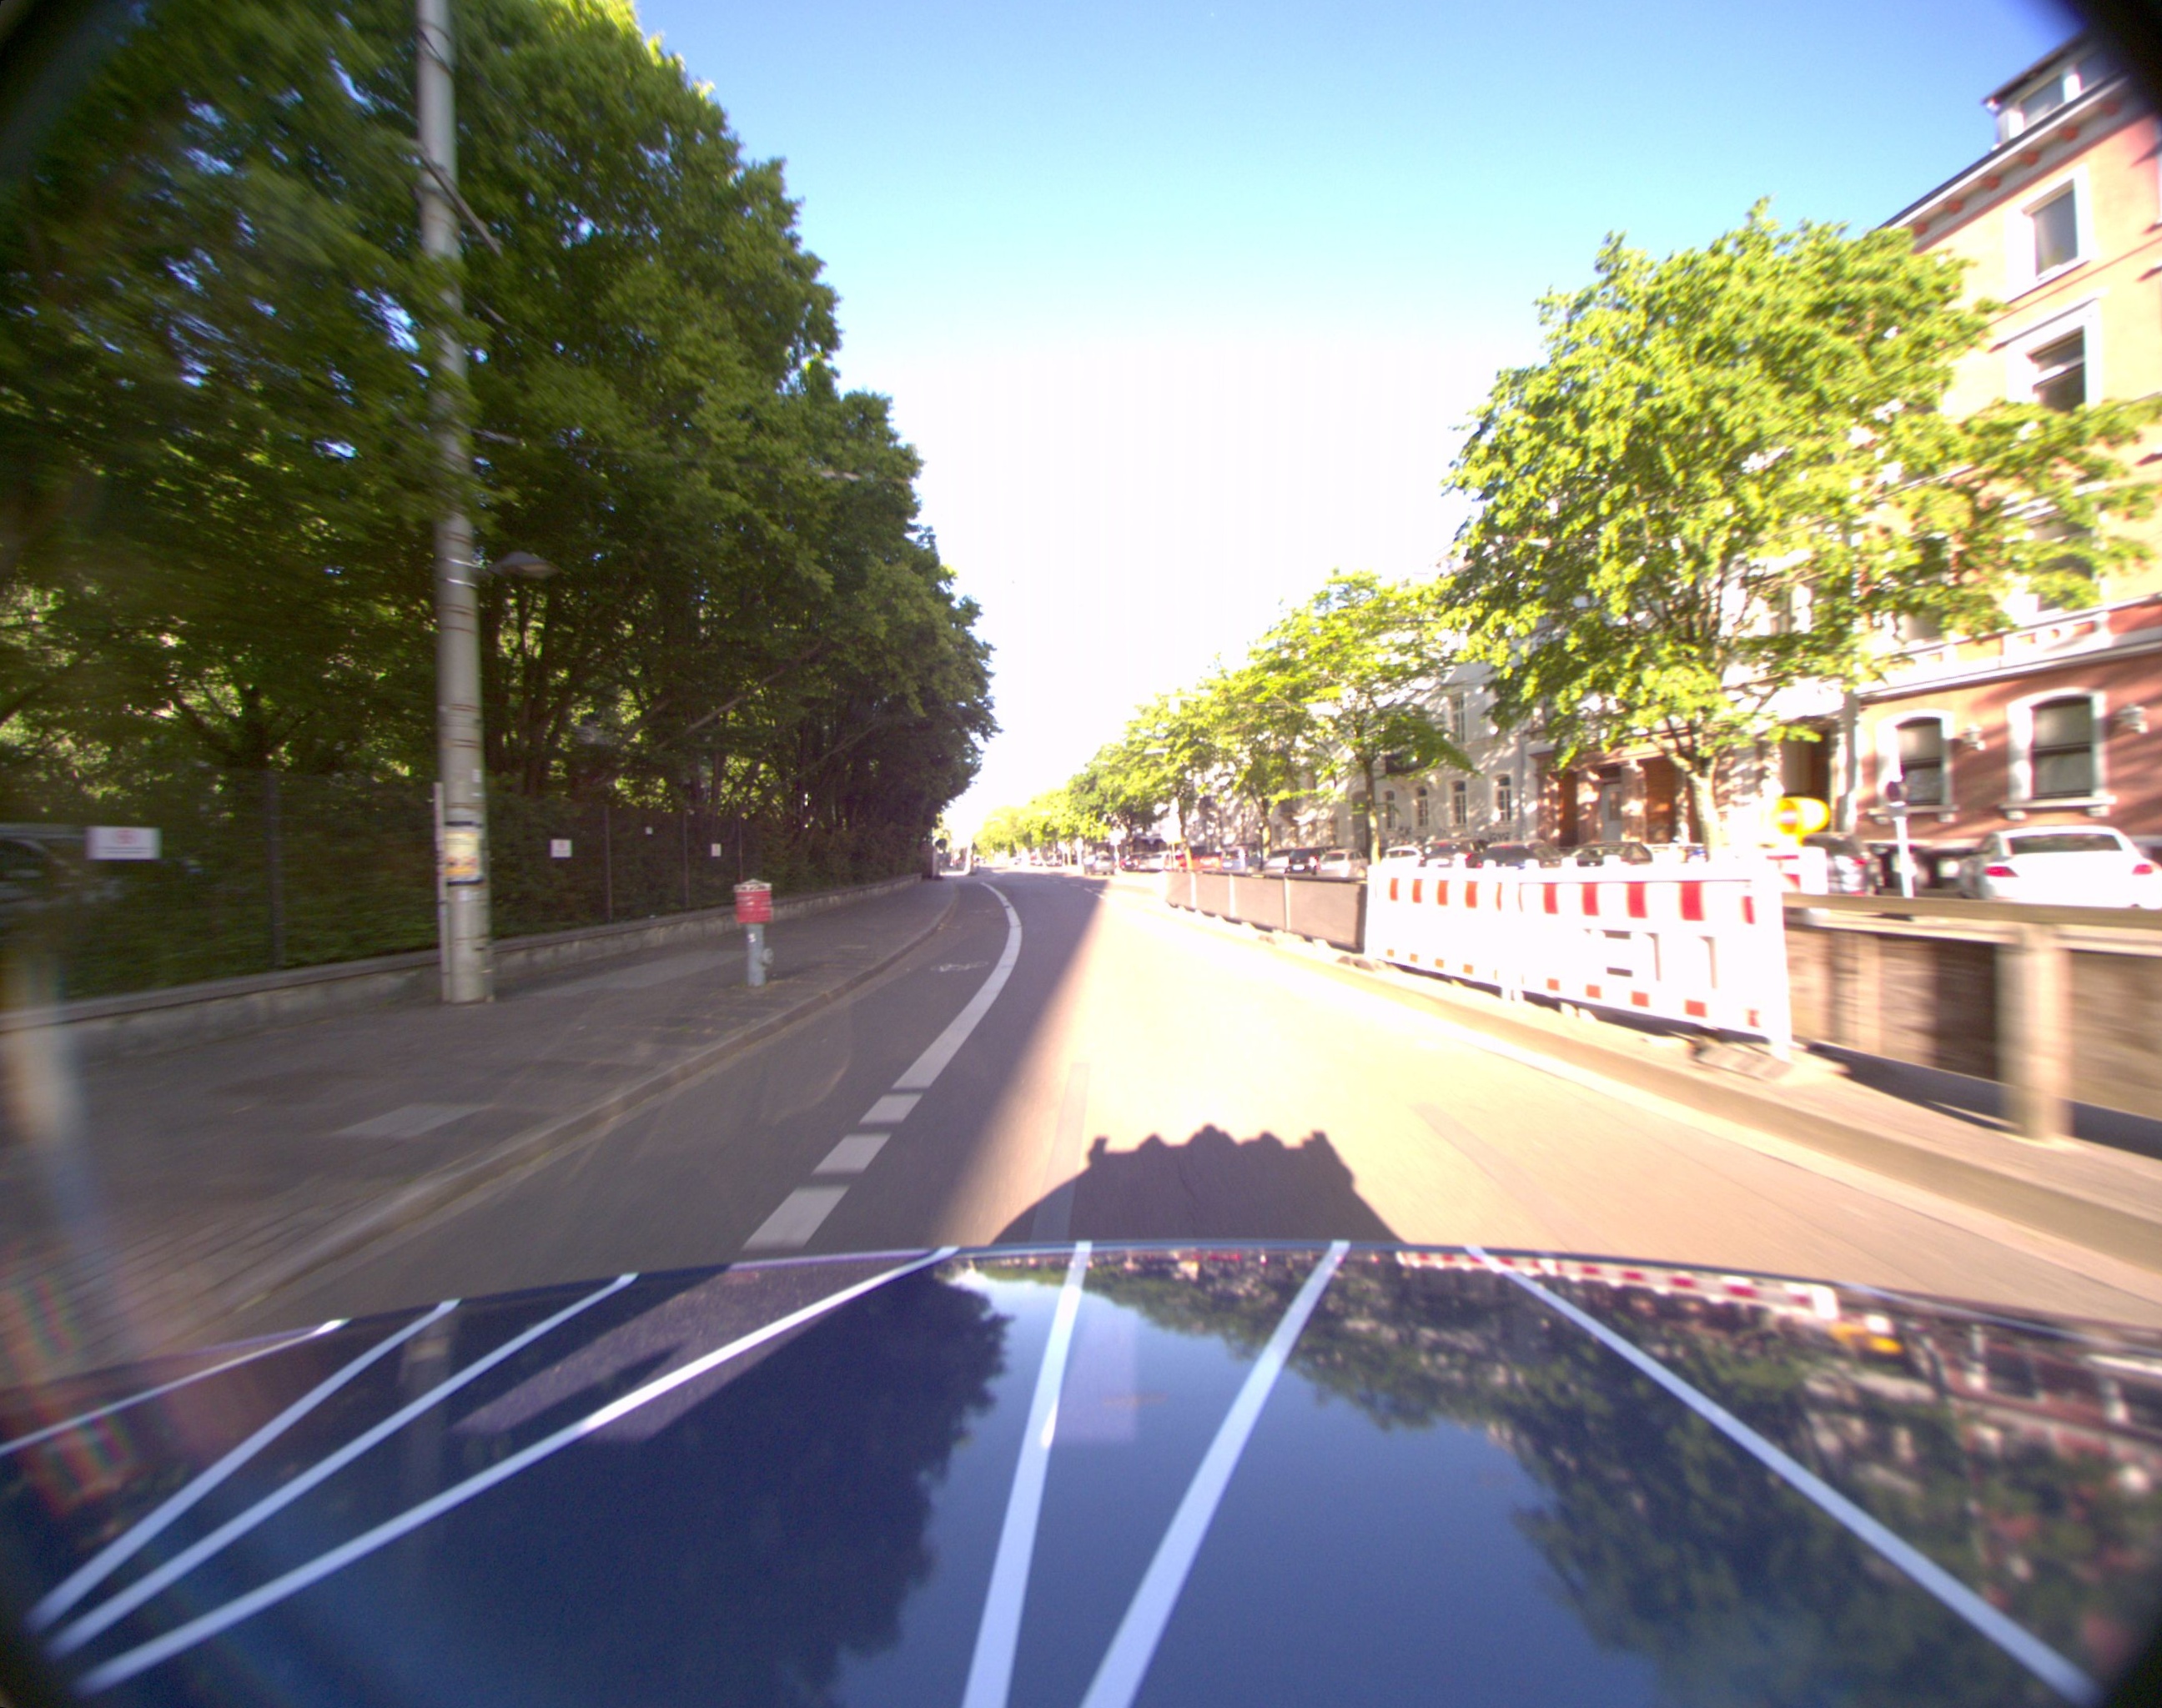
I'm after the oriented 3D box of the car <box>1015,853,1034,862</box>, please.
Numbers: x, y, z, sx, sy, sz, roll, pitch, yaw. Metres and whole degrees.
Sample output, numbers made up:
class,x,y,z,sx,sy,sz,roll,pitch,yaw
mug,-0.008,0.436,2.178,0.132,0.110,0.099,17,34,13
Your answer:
class,x,y,z,sx,sy,sz,roll,pitch,yaw
car,-12.136,0.756,164.268,3.775,1.584,1.670,-4,1,-15

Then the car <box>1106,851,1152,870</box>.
class,x,y,z,sx,sy,sz,roll,pitch,yaw
car,4.431,0.622,69.521,4.007,1.478,1.777,-4,2,-42

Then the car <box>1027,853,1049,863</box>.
class,x,y,z,sx,sy,sz,roll,pitch,yaw
car,-8.166,0.692,144.553,3.775,1.584,1.670,-4,1,-15

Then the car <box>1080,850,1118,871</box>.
class,x,y,z,sx,sy,sz,roll,pitch,yaw
car,1.339,0.492,59.448,1.878,1.591,4.422,-1,0,-14

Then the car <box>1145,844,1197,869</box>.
class,x,y,z,sx,sy,sz,roll,pitch,yaw
car,7.282,0.217,61.456,4.208,1.714,1.780,-5,2,-42

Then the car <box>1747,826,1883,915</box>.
class,x,y,z,sx,sy,sz,roll,pitch,yaw
car,15.453,0.284,15.928,3.928,1.499,1.685,-5,1,-41

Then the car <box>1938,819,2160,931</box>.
class,x,y,z,sx,sy,sz,roll,pitch,yaw
car,16.195,0.274,12.944,1.731,1.513,3.923,-3,1,43

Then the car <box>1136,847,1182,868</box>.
class,x,y,z,sx,sy,sz,roll,pitch,yaw
car,6.631,0.310,64.154,3.772,1.511,1.744,-5,2,-43

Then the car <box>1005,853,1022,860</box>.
class,x,y,z,sx,sy,sz,roll,pitch,yaw
car,-15.800,0.537,178.667,3.624,1.492,1.502,-4,1,-15

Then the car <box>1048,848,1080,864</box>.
class,x,y,z,sx,sy,sz,roll,pitch,yaw
car,-2.448,0.275,111.925,4.310,1.940,1.670,-4,1,-15

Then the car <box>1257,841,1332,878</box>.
class,x,y,z,sx,sy,sz,roll,pitch,yaw
car,11.101,0.270,39.362,3.877,1.645,1.768,-4,2,-39

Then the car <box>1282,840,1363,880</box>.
class,x,y,z,sx,sy,sz,roll,pitch,yaw
car,11.546,0.277,36.187,3.877,1.645,1.768,-4,2,-38

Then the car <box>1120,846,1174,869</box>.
class,x,y,z,sx,sy,sz,roll,pitch,yaw
car,5.795,0.258,66.674,4.366,1.704,1.944,-4,2,-33

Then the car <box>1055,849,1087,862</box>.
class,x,y,z,sx,sy,sz,roll,pitch,yaw
car,-1.401,0.268,108.191,4.104,1.561,1.670,-4,1,-15

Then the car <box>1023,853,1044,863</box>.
class,x,y,z,sx,sy,sz,roll,pitch,yaw
car,-9.267,0.733,147.577,3.775,1.584,1.670,-4,1,-15

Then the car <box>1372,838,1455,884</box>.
class,x,y,z,sx,sy,sz,roll,pitch,yaw
car,13.182,0.263,30.068,3.286,1.524,1.703,-6,2,-41

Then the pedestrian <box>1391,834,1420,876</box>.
class,x,y,z,sx,sy,sz,roll,pitch,yaw
pedestrian,13.792,0.051,32.305,0.766,1.745,0.806,-2,1,-21

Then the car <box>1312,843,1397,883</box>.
class,x,y,z,sx,sy,sz,roll,pitch,yaw
car,12.139,0.382,33.597,3.828,1.477,1.766,-4,2,-39

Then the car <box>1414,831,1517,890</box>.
class,x,y,z,sx,sy,sz,roll,pitch,yaw
car,13.574,0.182,26.717,4.293,1.713,1.703,-6,3,-41

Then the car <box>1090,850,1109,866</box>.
class,x,y,z,sx,sy,sz,roll,pitch,yaw
car,2.325,0.512,95.506,1.673,1.886,3.212,-1,0,-10

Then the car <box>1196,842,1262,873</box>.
class,x,y,z,sx,sy,sz,roll,pitch,yaw
car,9.560,0.235,48.955,4.208,1.627,1.739,-5,0,-39

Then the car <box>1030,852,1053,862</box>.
class,x,y,z,sx,sy,sz,roll,pitch,yaw
car,-7.042,0.528,136.779,3.775,1.584,1.670,-4,1,-15

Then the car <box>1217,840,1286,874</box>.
class,x,y,z,sx,sy,sz,roll,pitch,yaw
car,10.375,0.156,46.076,4.208,1.788,1.781,-5,2,-39

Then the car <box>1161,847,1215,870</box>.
class,x,y,z,sx,sy,sz,roll,pitch,yaw
car,8.258,0.323,58.631,4.208,1.549,1.636,-4,1,-39

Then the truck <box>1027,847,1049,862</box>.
class,x,y,z,sx,sy,sz,roll,pitch,yaw
truck,-8.054,0.070,140.894,3.773,2.409,1.671,-4,1,-10

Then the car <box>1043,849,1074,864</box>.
class,x,y,z,sx,sy,sz,roll,pitch,yaw
car,-3.433,0.349,114.564,4.310,1.940,1.670,-4,1,-15

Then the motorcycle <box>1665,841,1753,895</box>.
class,x,y,z,sx,sy,sz,roll,pitch,yaw
motorcycle,16.067,0.319,19.504,0.680,1.272,1.927,-2,2,1

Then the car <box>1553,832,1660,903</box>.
class,x,y,z,sx,sy,sz,roll,pitch,yaw
car,14.309,0.311,20.611,1.631,1.607,3.993,-3,1,45

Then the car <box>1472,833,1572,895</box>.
class,x,y,z,sx,sy,sz,roll,pitch,yaw
car,13.657,0.263,23.429,1.631,1.607,3.993,-3,1,45

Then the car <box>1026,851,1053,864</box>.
class,x,y,z,sx,sy,sz,roll,pitch,yaw
car,-7.019,0.582,127.457,4.104,1.767,1.670,-4,1,-15
